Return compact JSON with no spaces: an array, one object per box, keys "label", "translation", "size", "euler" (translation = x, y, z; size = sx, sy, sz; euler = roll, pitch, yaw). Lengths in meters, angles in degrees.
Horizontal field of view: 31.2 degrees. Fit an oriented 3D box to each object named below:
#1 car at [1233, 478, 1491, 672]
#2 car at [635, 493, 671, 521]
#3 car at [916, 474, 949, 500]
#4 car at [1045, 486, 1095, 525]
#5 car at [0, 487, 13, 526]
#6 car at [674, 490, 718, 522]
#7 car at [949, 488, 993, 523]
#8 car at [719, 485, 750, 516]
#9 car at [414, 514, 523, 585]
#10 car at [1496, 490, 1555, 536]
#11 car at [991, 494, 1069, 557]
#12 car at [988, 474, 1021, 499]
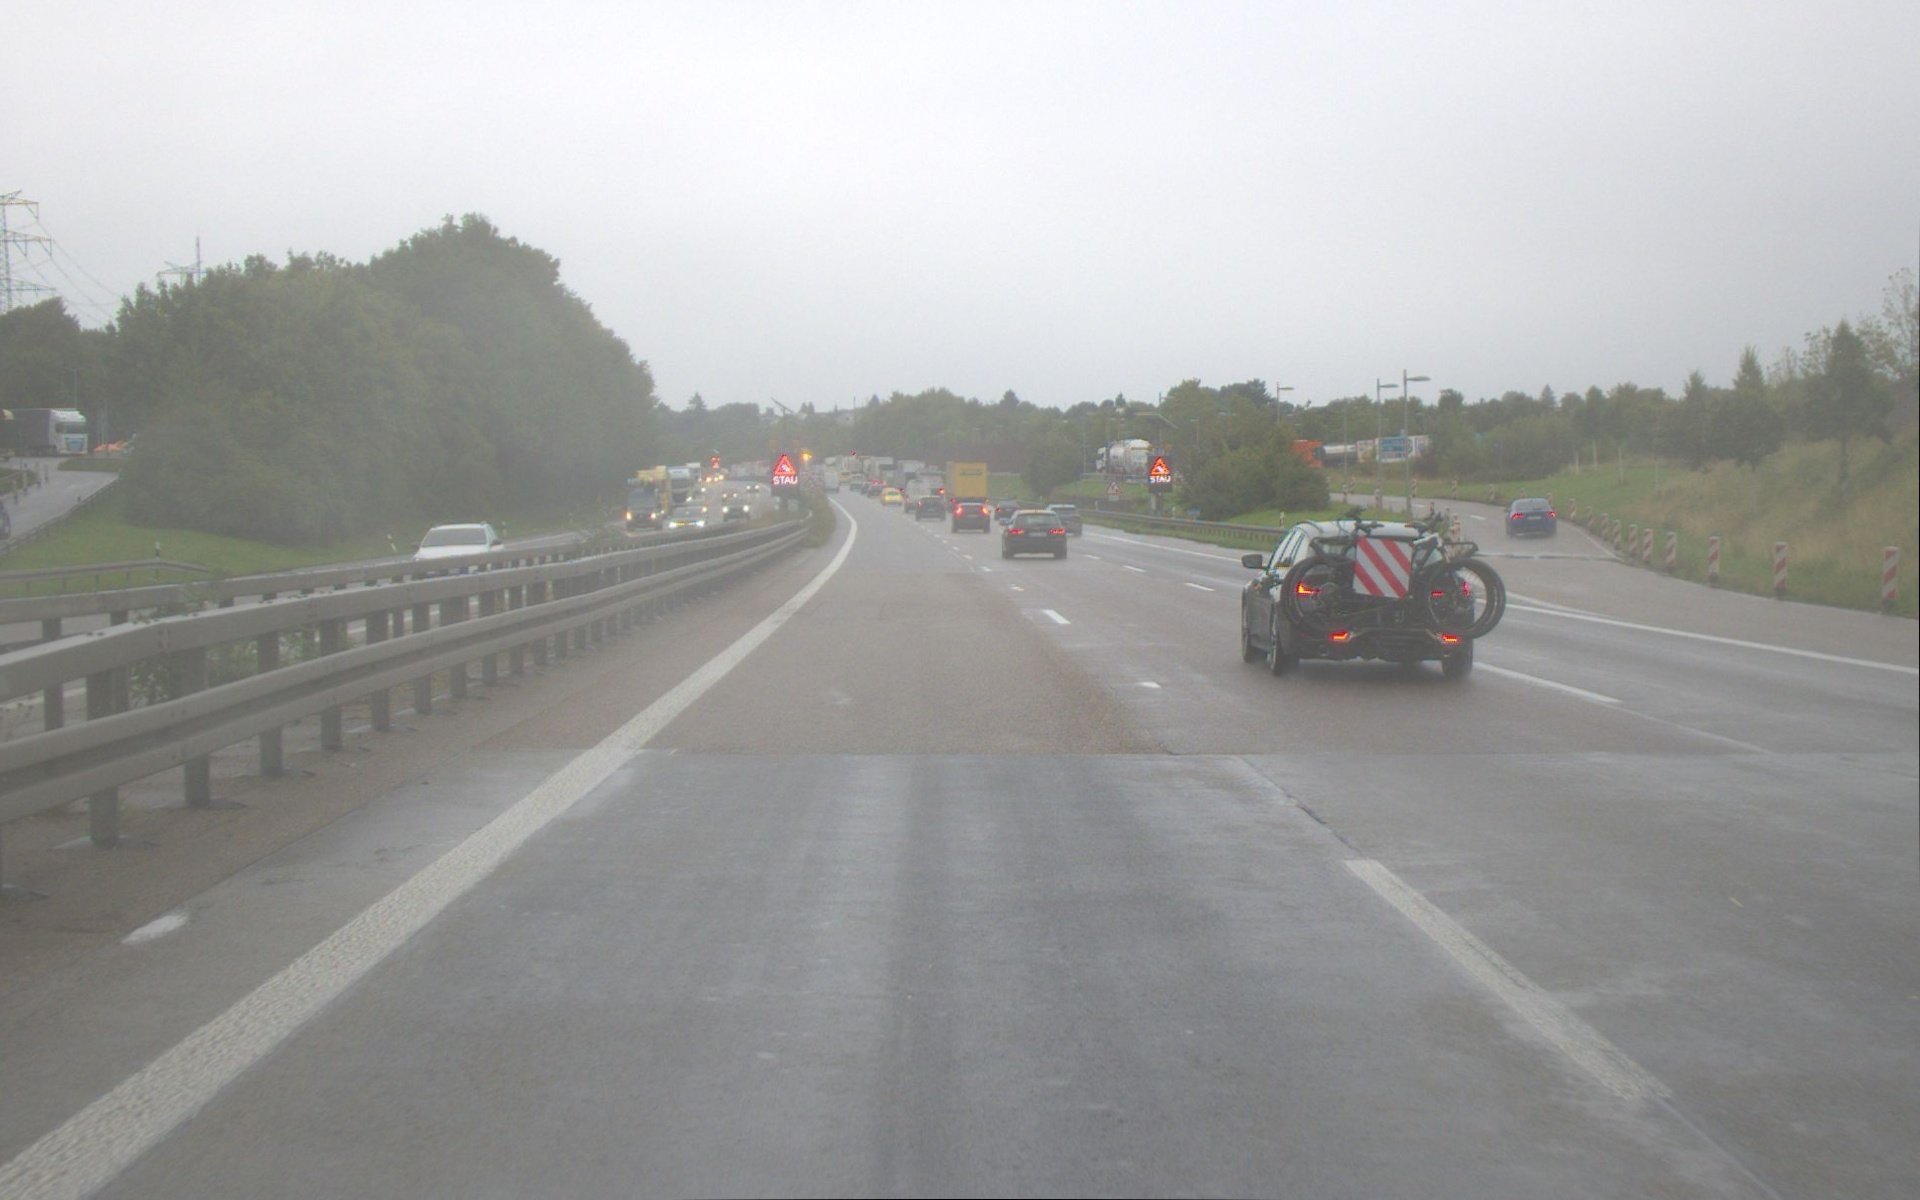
[{"label":"car","translation":[3.692,-0.266,32.485],"size":[2.058,1.665,5.521],"euler":[0,1,3]},{"label":"car","translation":[-18.786,-5.690,210.645],"size":[1.822,1.618,4.791],"euler":[-2,2,-1]},{"label":"car","translation":[-1.812,-7.368,223.528],"size":[1.993,1.623,4.001],"euler":[-2,2,-2]},{"label":"car","translation":[4.987,-4.298,156.092],"size":[1.993,1.755,4.001],"euler":[0,2,-2]},{"label":"car","translation":[-39.509,-3.751,139.066],"size":[1.967,1.537,4.001],"euler":[-2,2,-11]},{"label":"car","translation":[-12.910,-4.608,168.070],"size":[1.822,1.507,4.791],"euler":[-2,2,-1]},{"label":"car","translation":[0.520,-4.670,169.129],"size":[1.993,1.623,4.001],"euler":[-2,2,-2]},{"label":"car","translation":[-15.552,-6.874,237.597],"size":[1.822,2.030,4.791],"euler":[-2,2,-1]},{"label":"car","translation":[-10.966,-1.156,77.025],"size":[1.757,1.456,4.762],"euler":[-3,2,-1]},{"label":"car","translation":[21.889,-3.382,133.194],"size":[1.922,1.703,4.000],"euler":[-1,2,5]},{"label":"car","translation":[2.025,-2.195,100.623],"size":[1.993,1.755,4.001],"euler":[-2,2,-2]},{"label":"car","translation":[2.943,-7.550,228.585],"size":[1.993,1.623,4.001],"euler":[-2,2,-2]}]
